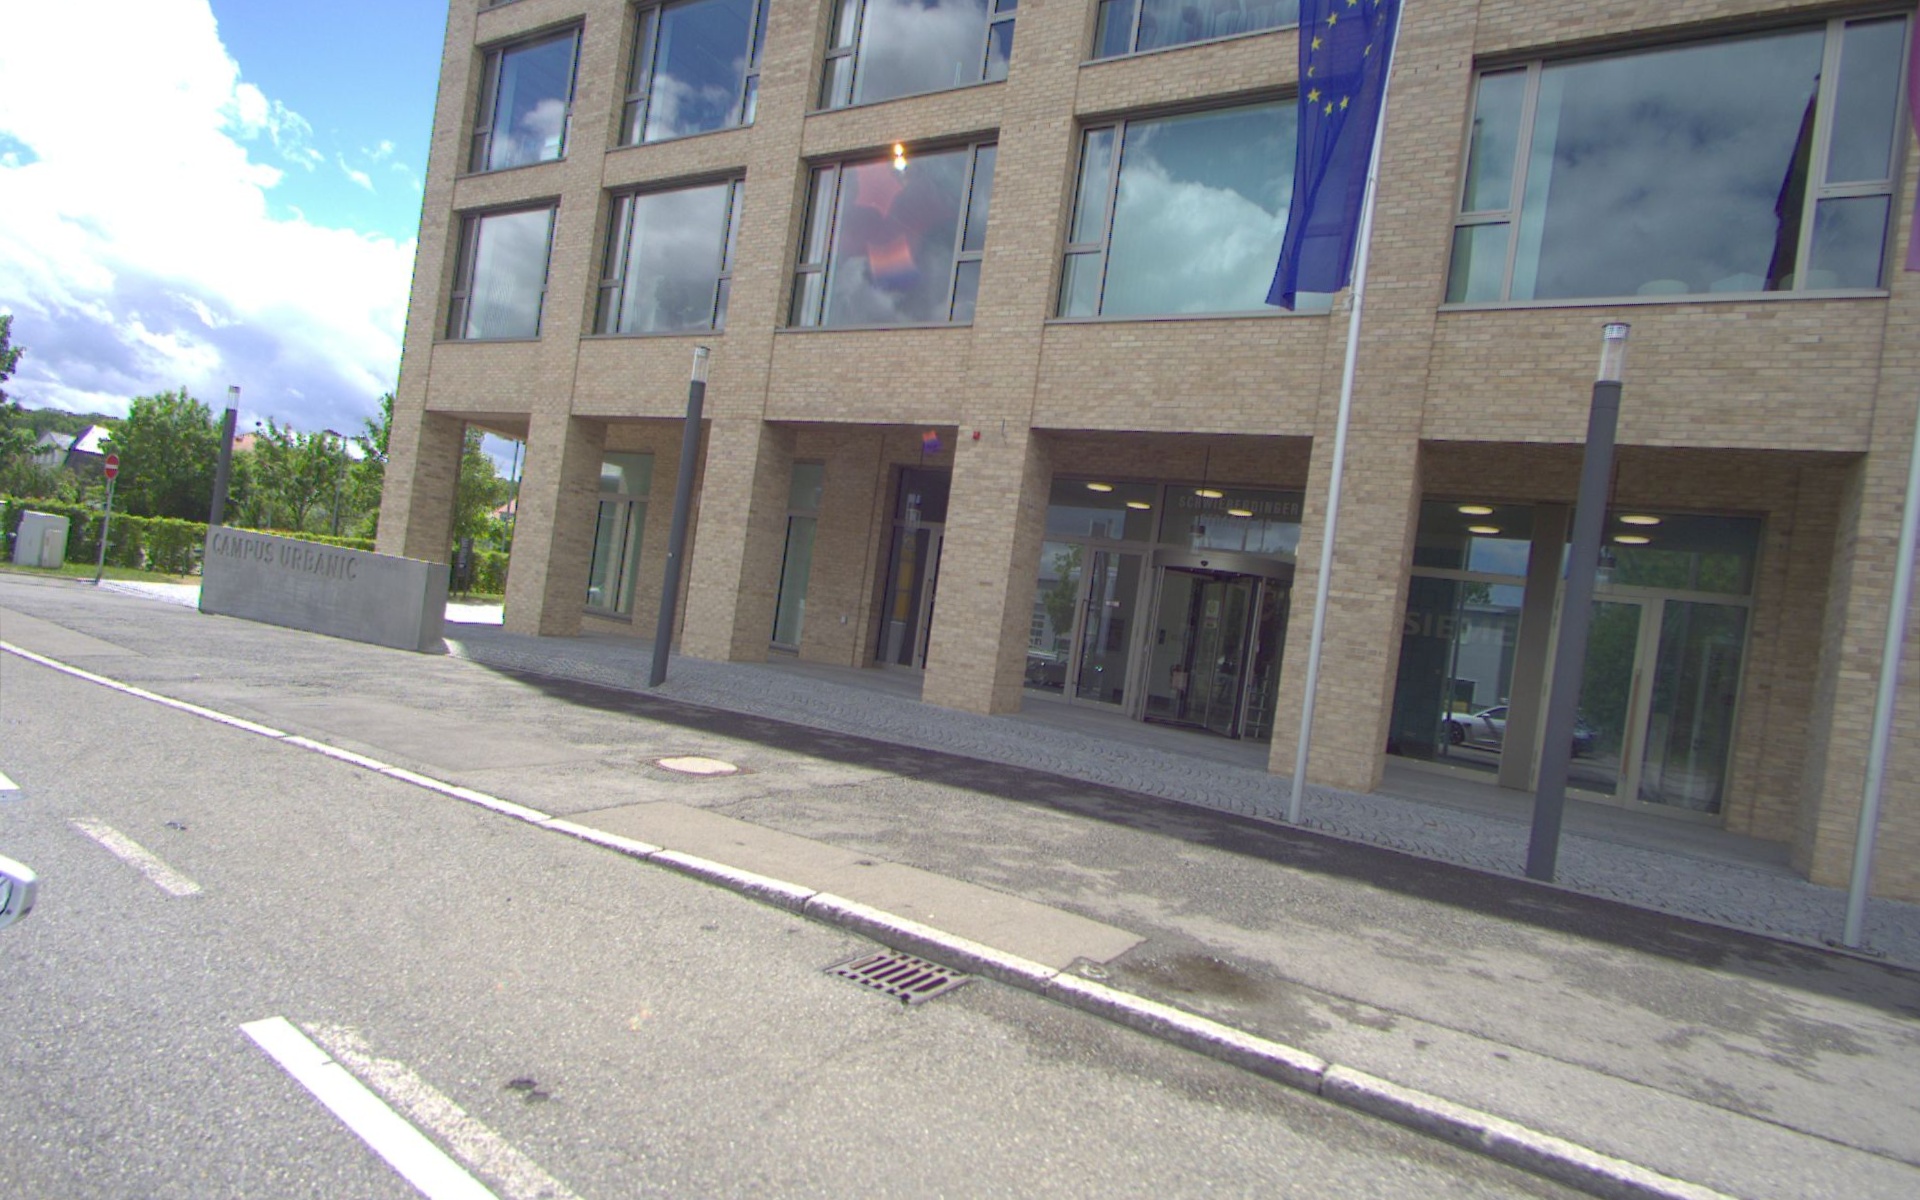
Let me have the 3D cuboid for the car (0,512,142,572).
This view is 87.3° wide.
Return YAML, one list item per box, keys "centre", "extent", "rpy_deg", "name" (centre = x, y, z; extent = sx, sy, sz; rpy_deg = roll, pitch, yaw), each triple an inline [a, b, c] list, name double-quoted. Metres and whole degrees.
- centre: [-29.621, -1.923, 32.530]
  extent: [1.967, 1.499, 4.438]
  rpy_deg: [5, -1, 31]
  name: "car"

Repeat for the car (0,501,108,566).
- centre: [-32.064, -2.336, 33.816]
  extent: [2.051, 1.871, 4.719]
  rpy_deg: [5, -1, 24]
  name: "car"
